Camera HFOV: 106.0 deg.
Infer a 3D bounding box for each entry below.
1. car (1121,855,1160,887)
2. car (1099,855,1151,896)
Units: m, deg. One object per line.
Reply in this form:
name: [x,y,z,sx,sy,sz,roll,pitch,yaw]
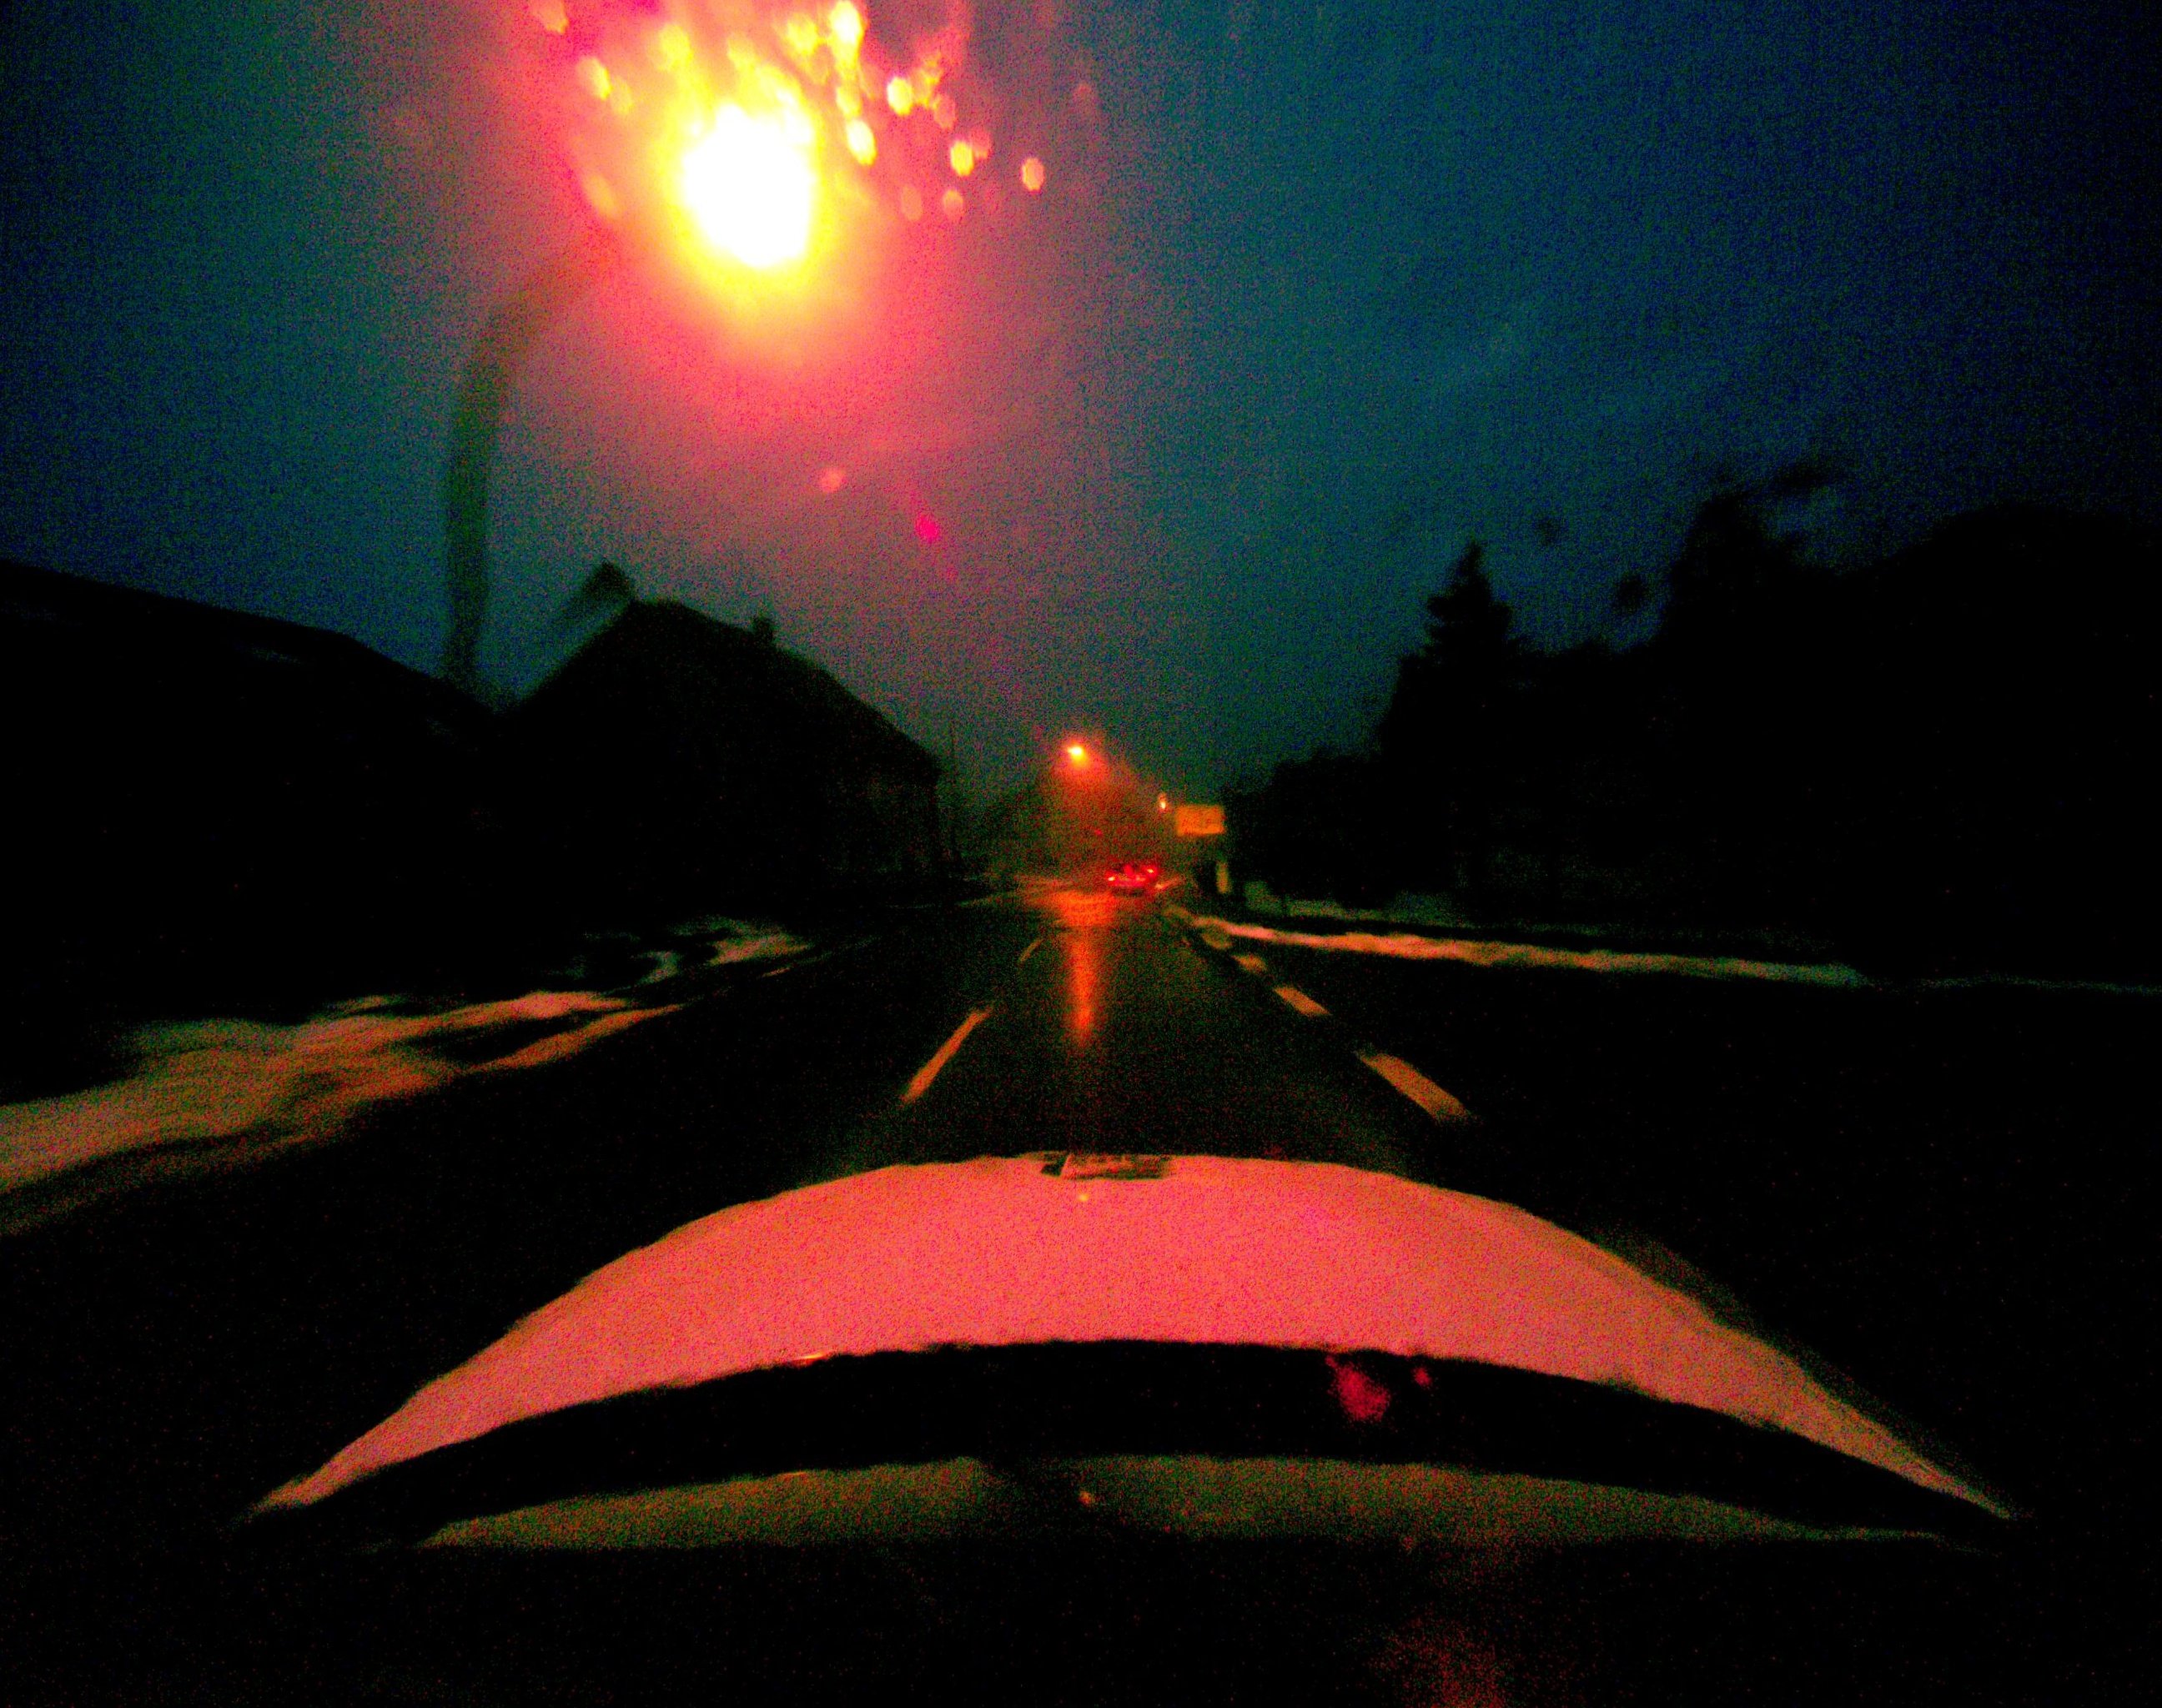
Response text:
car: [4.006,1.094,54.288,1.981,1.837,4.013,-3,1,11]
car: [2.074,0.925,36.940,1.983,1.508,4.008,-4,1,7]
